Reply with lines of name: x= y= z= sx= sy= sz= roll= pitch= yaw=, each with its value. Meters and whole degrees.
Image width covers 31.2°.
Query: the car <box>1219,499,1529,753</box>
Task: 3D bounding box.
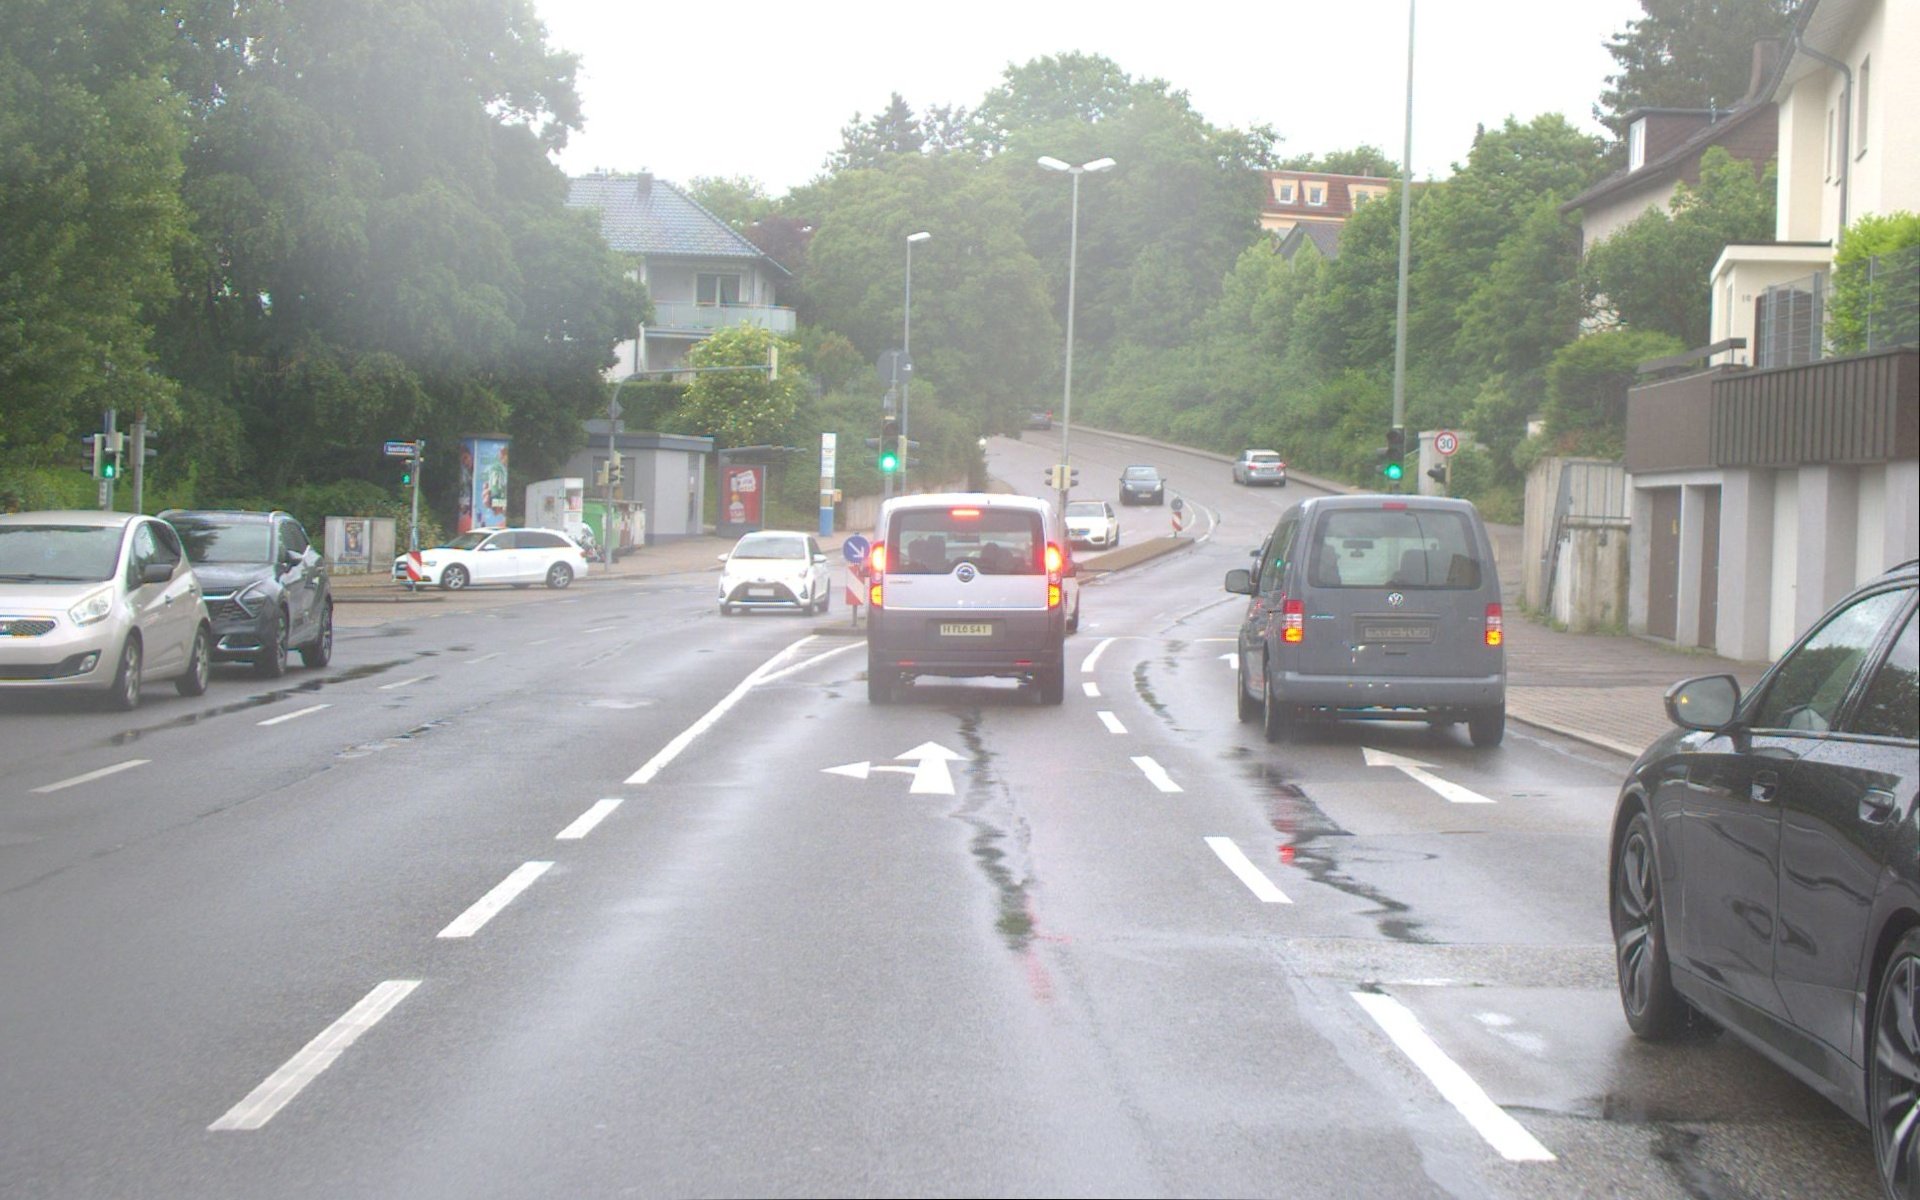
car: x=3.091 y=0.150 z=26.406 sx=1.838 sy=1.761 sz=4.000 roll=1 pitch=1 yaw=0

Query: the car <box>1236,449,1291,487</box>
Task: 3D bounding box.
car: x=13.445 y=-5.837 z=152.500 sx=1.993 sy=1.579 sz=4.000 roll=1 pitch=1 yaw=0

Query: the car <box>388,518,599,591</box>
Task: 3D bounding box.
car: x=-10.607 y=-1.025 z=78.372 sx=4.383 sy=1.542 sz=1.999 roll=1 pitch=1 yaw=-42

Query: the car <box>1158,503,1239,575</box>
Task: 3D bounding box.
car: x=7.891 y=-2.054 z=113.475 sx=2.522 sy=2.006 sz=5.608 roll=2 pitch=4 yaw=4

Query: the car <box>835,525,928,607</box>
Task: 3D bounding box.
car: x=-1.761 y=-0.782 z=78.098 sx=1.993 sy=1.766 sz=4.000 roll=1 pitch=1 yaw=0

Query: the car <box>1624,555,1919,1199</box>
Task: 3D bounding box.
car: x=2.959 y=0.662 z=8.353 sx=1.993 sy=1.478 sz=4.000 roll=2 pitch=1 yaw=2

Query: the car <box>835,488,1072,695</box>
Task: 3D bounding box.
car: x=-0.062 y=-0.111 z=31.618 sx=1.993 sy=1.731 sz=4.000 roll=1 pitch=1 yaw=0

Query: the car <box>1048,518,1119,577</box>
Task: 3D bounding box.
car: x=3.768 y=-1.617 z=105.630 sx=1.993 sy=1.766 sz=4.000 roll=0 pitch=1 yaw=0

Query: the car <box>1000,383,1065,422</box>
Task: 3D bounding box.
car: x=4.023 y=-11.051 z=192.018 sx=2.521 sy=2.006 sz=5.611 roll=1 pitch=4 yaw=-10

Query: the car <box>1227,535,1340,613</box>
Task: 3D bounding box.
car: x=6.922 y=-0.573 z=73.873 sx=1.993 sy=1.573 sz=4.000 roll=1 pitch=1 yaw=0

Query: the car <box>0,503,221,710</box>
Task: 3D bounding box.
car: x=-7.511 y=0.004 z=28.533 sx=1.884 sy=1.579 sz=4.000 roll=1 pitch=1 yaw=0

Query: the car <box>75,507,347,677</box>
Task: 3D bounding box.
car: x=-7.554 y=-0.113 z=35.025 sx=1.884 sy=1.579 sz=4.000 roll=1 pitch=1 yaw=0

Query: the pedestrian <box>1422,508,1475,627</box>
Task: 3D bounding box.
pedestrian: x=8.320 y=-0.554 z=58.562 sx=0.873 sy=2.007 sz=0.878 roll=1 pitch=1 yaw=7

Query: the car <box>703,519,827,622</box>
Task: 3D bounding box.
car: x=-3.519 y=-0.555 z=62.682 sx=1.993 sy=1.766 sz=4.000 roll=1 pitch=1 yaw=0
